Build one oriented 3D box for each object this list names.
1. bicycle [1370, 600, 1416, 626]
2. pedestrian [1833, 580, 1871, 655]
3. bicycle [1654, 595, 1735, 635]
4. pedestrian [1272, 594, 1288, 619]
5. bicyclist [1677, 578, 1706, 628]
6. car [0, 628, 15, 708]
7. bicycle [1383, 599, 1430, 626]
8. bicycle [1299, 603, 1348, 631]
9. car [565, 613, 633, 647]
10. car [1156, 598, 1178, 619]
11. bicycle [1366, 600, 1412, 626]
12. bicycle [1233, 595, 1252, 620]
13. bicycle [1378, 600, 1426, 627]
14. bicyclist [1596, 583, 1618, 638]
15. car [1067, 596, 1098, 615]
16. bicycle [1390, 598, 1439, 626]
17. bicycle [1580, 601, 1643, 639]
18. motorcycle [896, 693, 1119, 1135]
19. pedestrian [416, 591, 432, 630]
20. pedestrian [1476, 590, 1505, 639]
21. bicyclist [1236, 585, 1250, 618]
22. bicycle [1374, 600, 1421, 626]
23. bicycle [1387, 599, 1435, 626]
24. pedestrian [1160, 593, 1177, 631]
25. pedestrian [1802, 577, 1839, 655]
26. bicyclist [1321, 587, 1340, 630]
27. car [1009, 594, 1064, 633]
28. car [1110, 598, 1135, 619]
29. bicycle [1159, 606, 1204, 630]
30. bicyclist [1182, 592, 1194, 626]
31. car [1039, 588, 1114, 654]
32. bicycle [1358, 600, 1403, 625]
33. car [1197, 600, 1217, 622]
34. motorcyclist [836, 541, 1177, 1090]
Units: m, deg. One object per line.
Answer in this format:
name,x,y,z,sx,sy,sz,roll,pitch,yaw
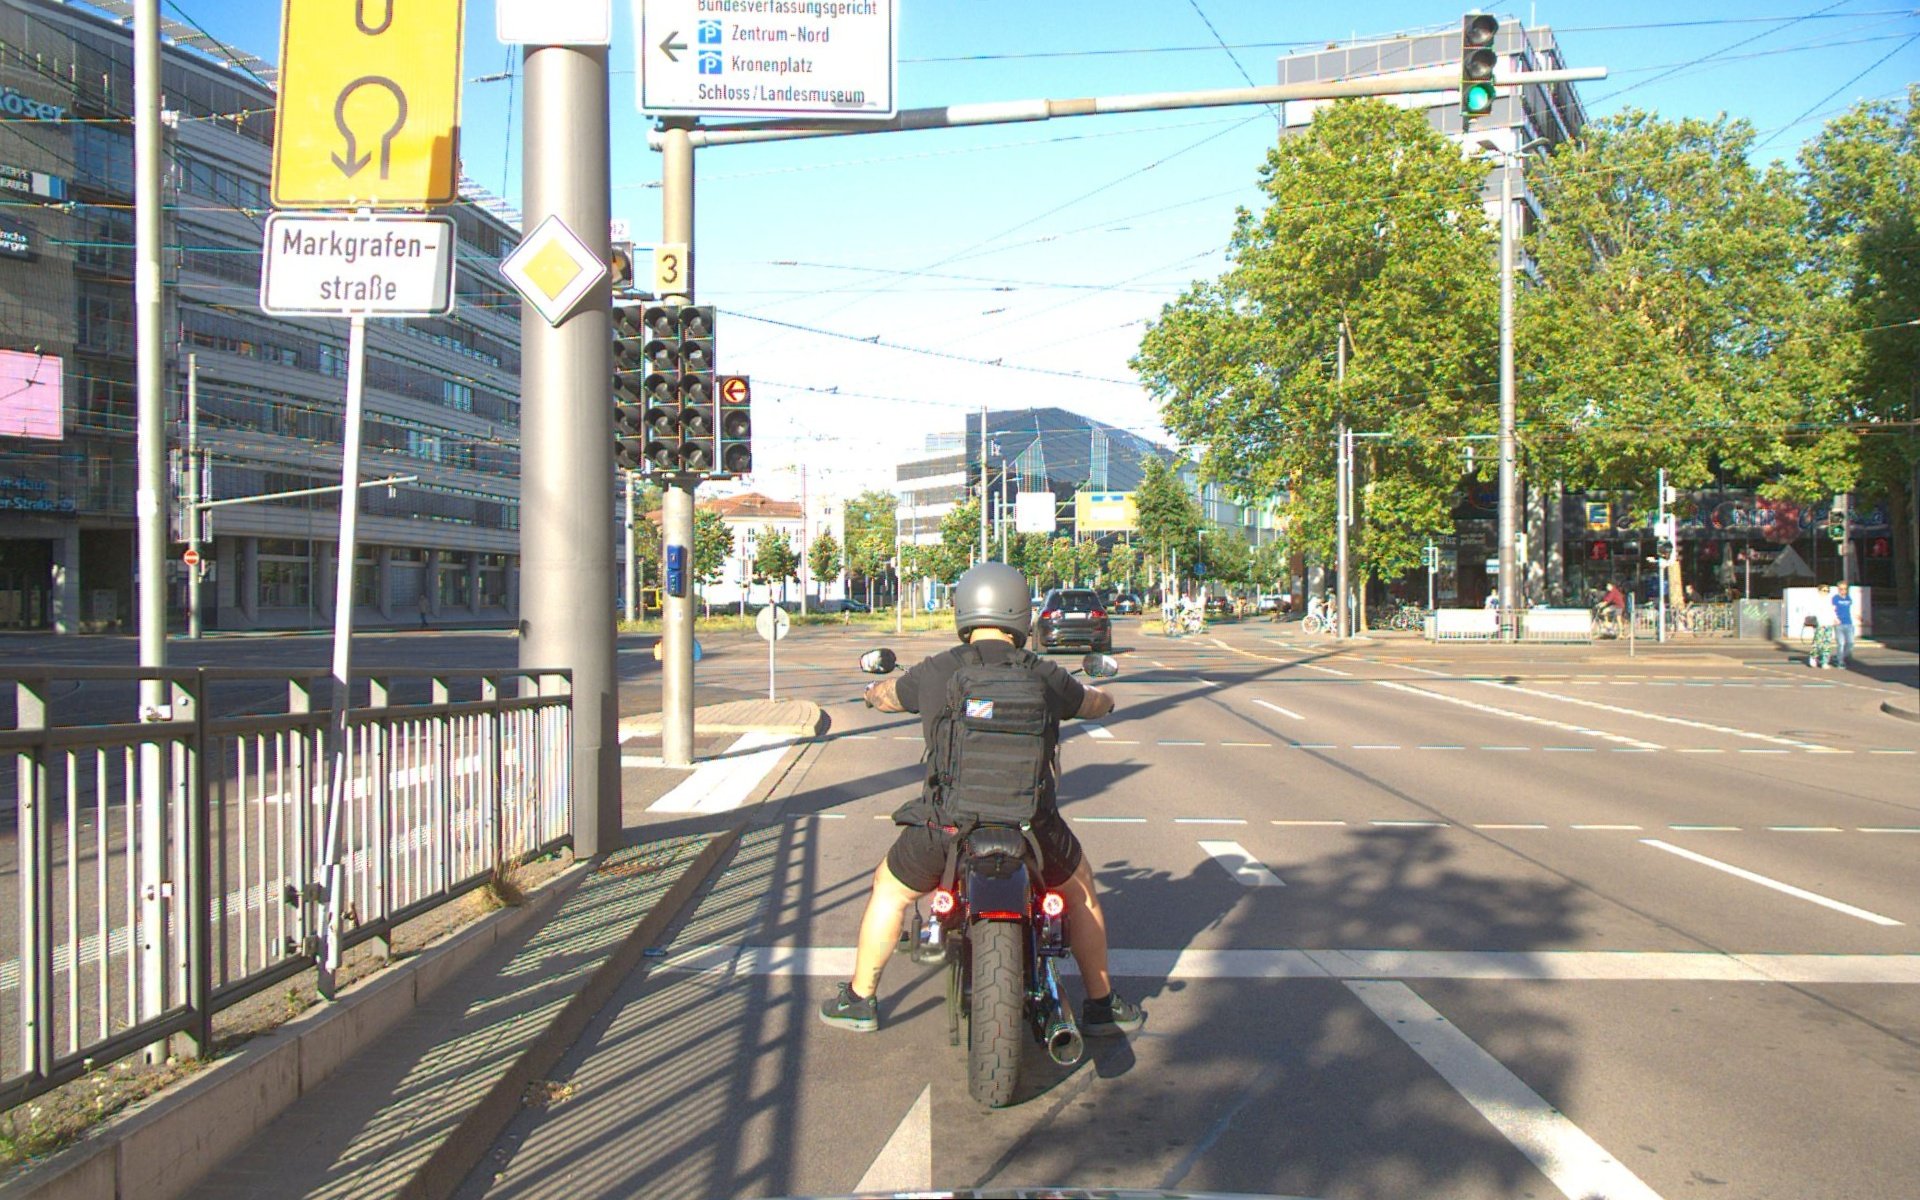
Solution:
bicycle,18.132,0.537,69.248,1.842,1.064,0.360,1,0,-2
pedestrian,18.013,0.356,33.406,0.554,1.505,0.702,1,-1,20
bicycle,22.740,0.459,51.229,2.276,1.199,0.568,1,-1,-3
pedestrian,17.571,0.373,90.860,0.802,1.337,0.638,1,-1,8
bicyclist,22.673,0.100,51.240,0.619,1.545,0.566,1,-1,-3
car,-14.530,0.902,22.371,2.835,1.081,1.235,1,-1,-22
bicycle,18.248,0.524,67.576,1.842,1.065,0.360,1,-1,-2
bicycle,14.390,0.674,65.436,1.831,1.062,0.537,0,-1,18
car,-17.043,1.410,78.297,1.712,1.550,4.003,1,-1,11
car,19.376,0.785,154.691,1.692,1.870,3.578,1,-1,12
bicycle,18.082,0.534,69.746,1.842,1.064,0.360,1,0,-2
bicycle,15.972,0.417,93.501,0.710,1.391,2.918,1,-1,3
bicycle,18.200,0.540,68.132,1.842,1.064,0.360,1,0,-2
bicyclist,22.251,0.371,56.908,0.572,1.870,0.402,1,-1,-1
car,9.207,0.398,124.248,1.765,1.455,4.457,0,0,12
bicycle,18.137,0.482,65.976,1.842,1.065,0.360,1,-1,-2
bicycle,22.399,0.687,56.894,2.001,1.235,0.421,1,-1,-1
motorcycle,0.112,0.916,5.609,0.588,1.054,2.233,1,0,-1
pedestrian,-28.695,0.559,88.548,0.617,2.049,0.754,1,-1,-1
pedestrian,19.314,0.533,60.223,0.816,1.734,0.759,1,-1,-1
bicyclist,15.971,0.068,93.424,0.682,1.840,0.729,1,-1,3
bicycle,18.179,0.546,68.763,1.842,1.065,0.360,1,-1,-2
bicycle,18.214,0.503,66.761,1.842,1.065,0.360,1,-1,-2
pedestrian,8.691,0.492,68.933,0.576,1.584,0.488,1,-1,-9
pedestrian,17.436,0.324,33.512,0.554,1.559,0.702,1,-1,20
bicyclist,14.655,0.352,65.358,0.673,1.702,0.541,0,-1,18
car,2.895,0.484,63.700,1.767,1.455,4.451,0,0,-2
car,13.727,0.726,139.559,1.765,1.708,4.044,1,-1,11
bicycle,9.004,0.723,67.176,1.792,0.942,0.357,1,-1,-9
bicyclist,9.268,0.362,67.227,0.374,1.397,0.344,1,-1,-9
car,3.062,0.511,42.766,1.765,1.623,4.456,0,0,6
bicycle,18.024,0.534,70.896,1.842,1.064,0.360,1,0,-2
car,21.969,0.961,146.943,1.497,1.870,3.578,1,-1,12
motorcyclist,0.133,0.634,5.343,1.009,1.621,0.873,0,0,-1
